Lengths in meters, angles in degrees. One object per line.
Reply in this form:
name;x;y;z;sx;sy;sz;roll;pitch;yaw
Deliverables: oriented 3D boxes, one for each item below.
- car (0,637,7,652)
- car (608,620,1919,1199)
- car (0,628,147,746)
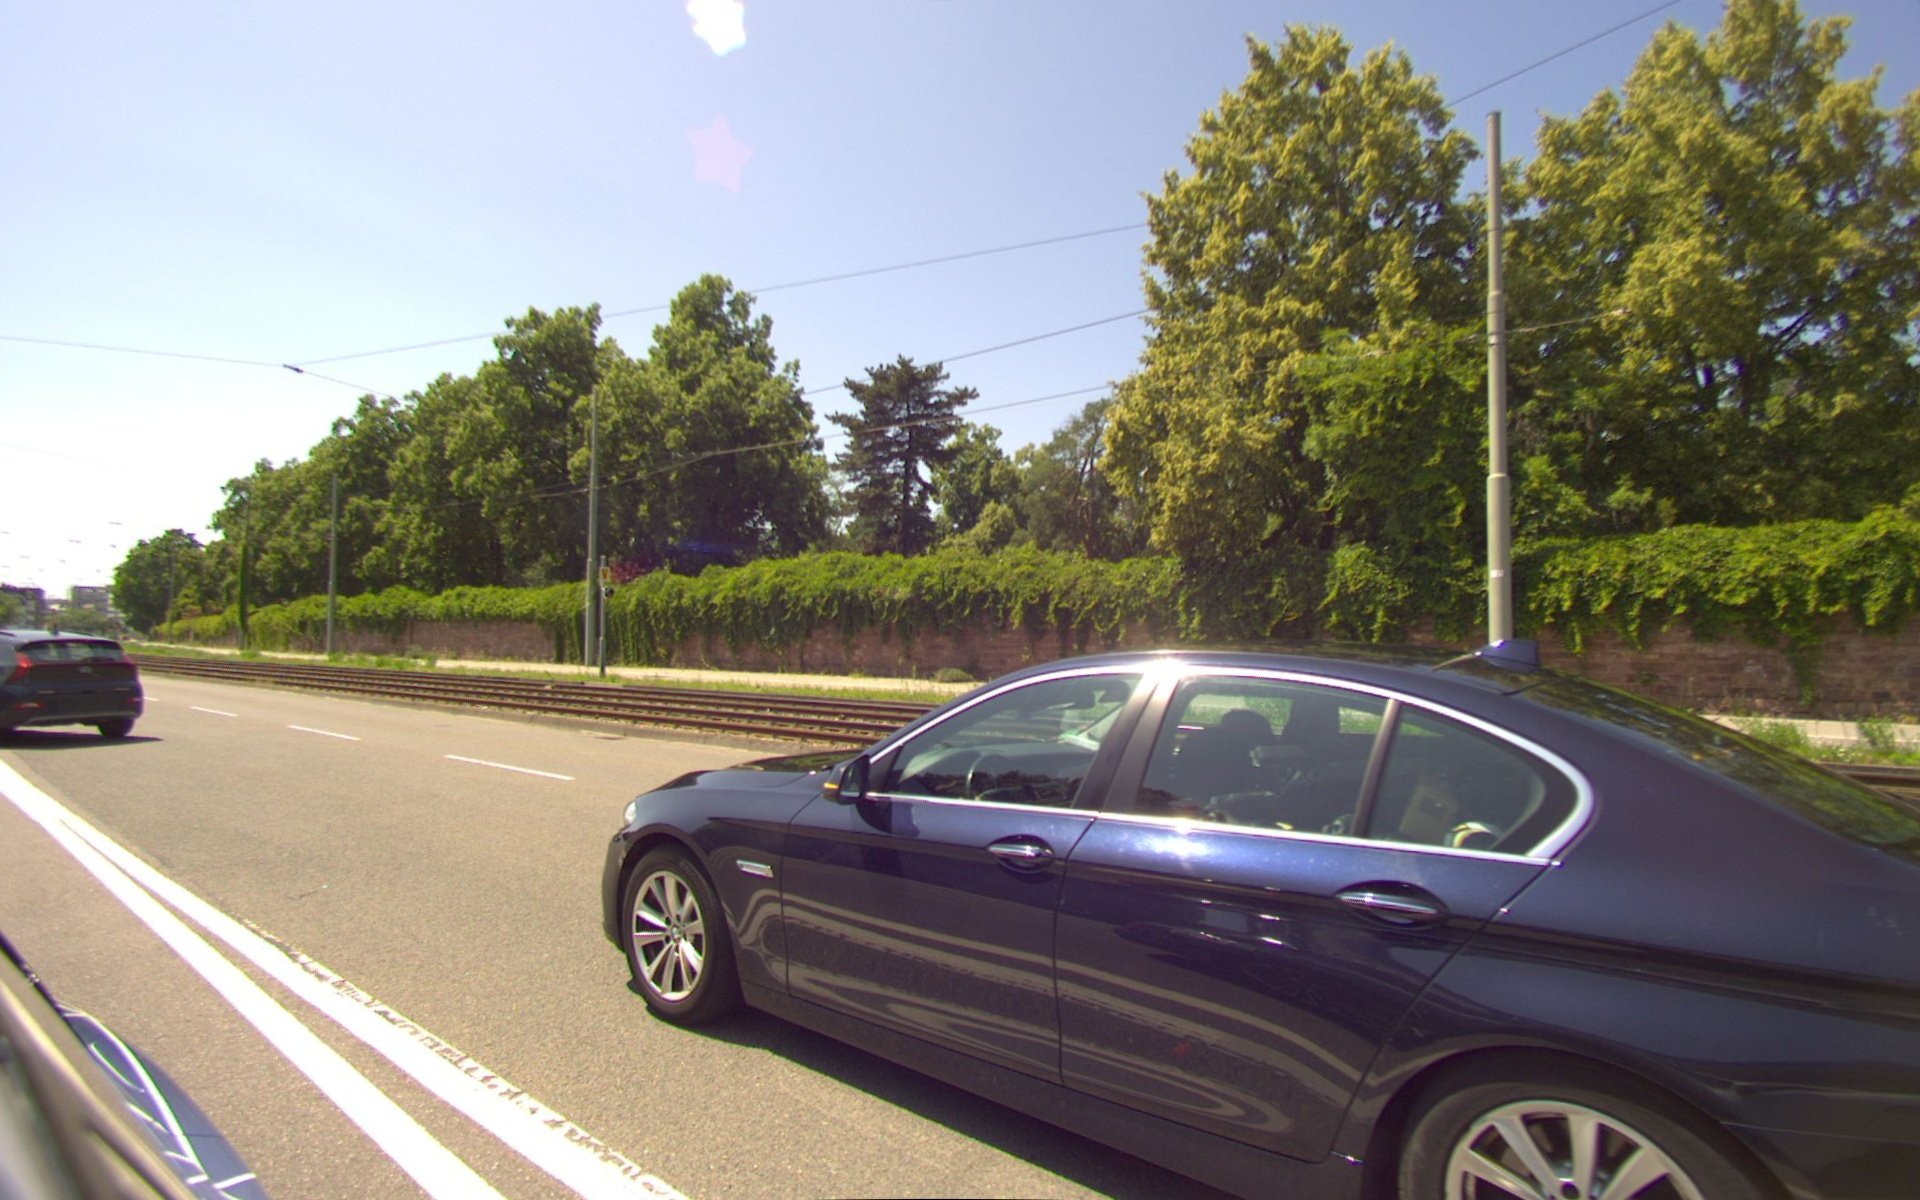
car;-98.470;4.550;103.256;1.671;1.480;4.004;2;-3;-42
car;0.890;0.797;3.215;4.444;1.410;1.775;-2;-3;40
car;-13.279;1.091;13.732;4.113;1.433;1.706;0;-2;22
